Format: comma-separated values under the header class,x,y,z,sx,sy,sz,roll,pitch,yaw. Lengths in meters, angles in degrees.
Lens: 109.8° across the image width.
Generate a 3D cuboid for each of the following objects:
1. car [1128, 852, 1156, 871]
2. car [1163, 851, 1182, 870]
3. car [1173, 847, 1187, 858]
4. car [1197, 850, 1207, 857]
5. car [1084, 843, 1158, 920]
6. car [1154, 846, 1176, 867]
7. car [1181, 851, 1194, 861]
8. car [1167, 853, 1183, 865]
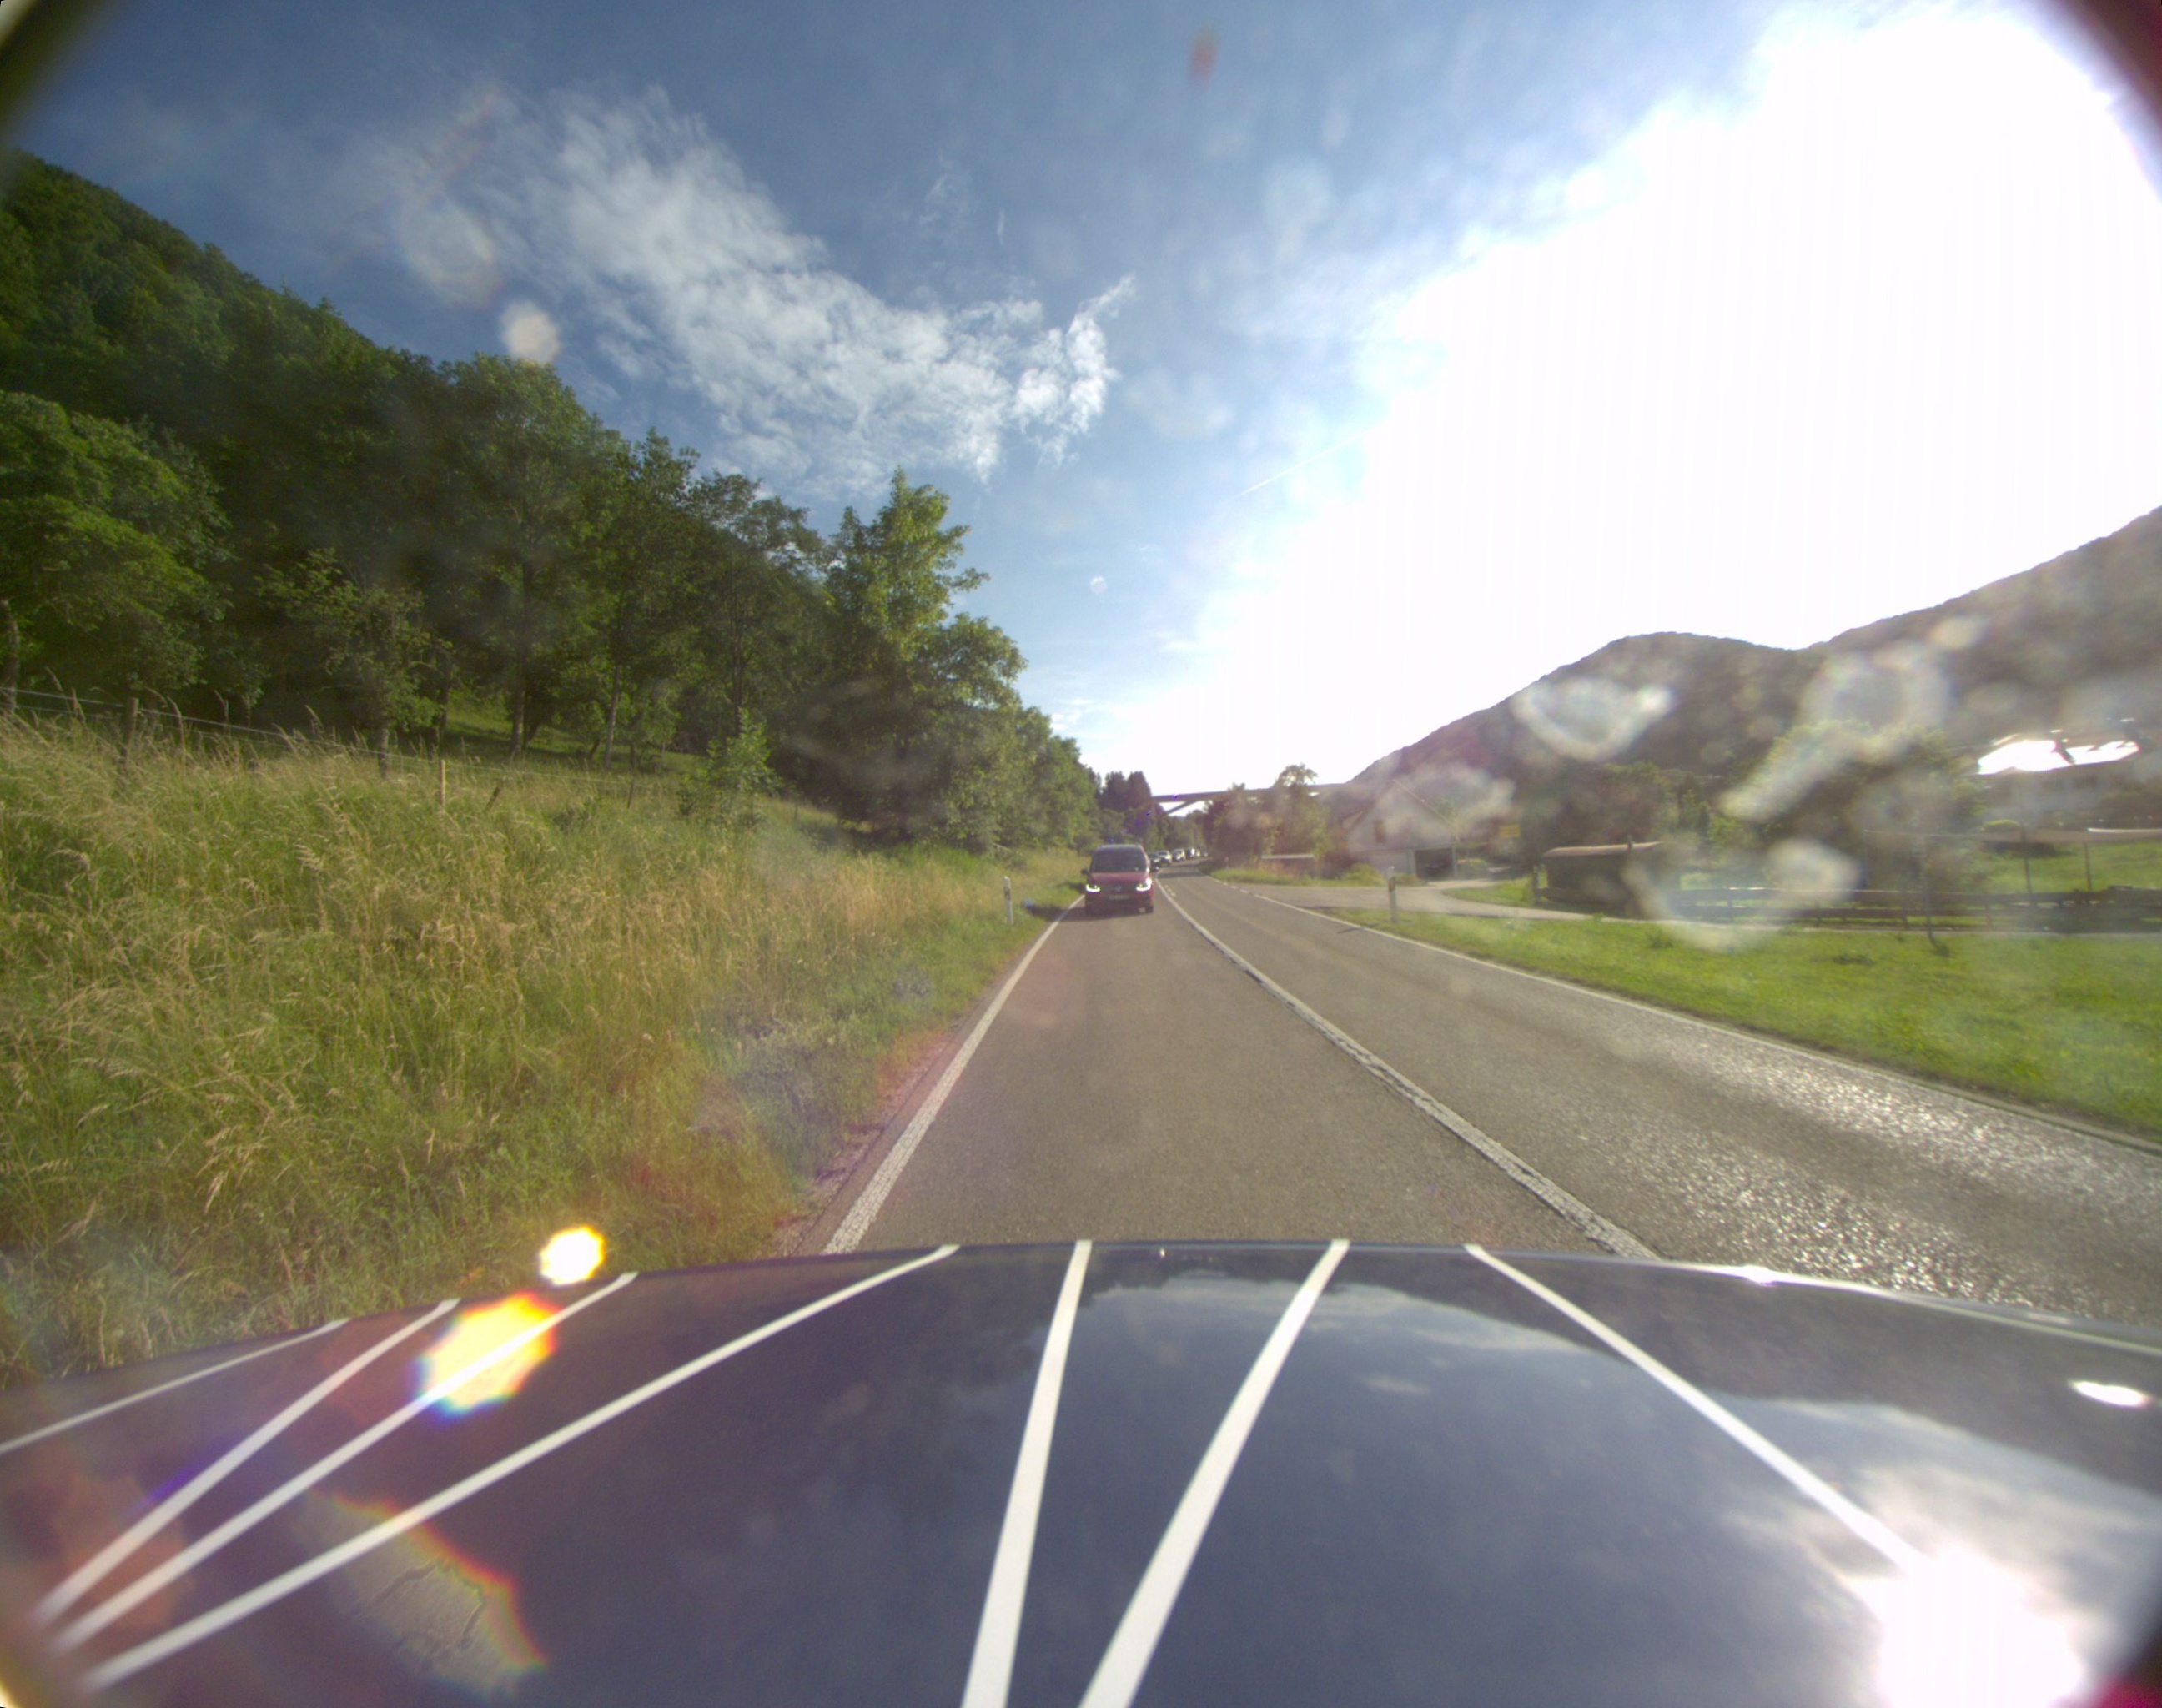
class,x,y,z,sx,sy,sz,roll,pitch,yaw
car,5.164,0.602,63.901,1.840,1.543,4.181,-1,0,12
car,10.345,0.682,85.552,1.913,2.002,4.003,-1,0,10
car,15.087,-0.283,115.712,1.817,1.608,4.003,-1,1,9
car,26.893,-0.053,169.049,1.840,1.543,4.181,-1,0,13
car,1.076,0.662,20.678,1.772,1.855,3.876,-1,0,3
car,8.367,0.227,75.550,1.913,2.002,4.003,-1,0,9
car,18.134,0.341,128.800,1.817,1.608,4.004,-1,0,12
car,12.695,0.710,102.843,1.840,1.543,4.181,-1,0,11
